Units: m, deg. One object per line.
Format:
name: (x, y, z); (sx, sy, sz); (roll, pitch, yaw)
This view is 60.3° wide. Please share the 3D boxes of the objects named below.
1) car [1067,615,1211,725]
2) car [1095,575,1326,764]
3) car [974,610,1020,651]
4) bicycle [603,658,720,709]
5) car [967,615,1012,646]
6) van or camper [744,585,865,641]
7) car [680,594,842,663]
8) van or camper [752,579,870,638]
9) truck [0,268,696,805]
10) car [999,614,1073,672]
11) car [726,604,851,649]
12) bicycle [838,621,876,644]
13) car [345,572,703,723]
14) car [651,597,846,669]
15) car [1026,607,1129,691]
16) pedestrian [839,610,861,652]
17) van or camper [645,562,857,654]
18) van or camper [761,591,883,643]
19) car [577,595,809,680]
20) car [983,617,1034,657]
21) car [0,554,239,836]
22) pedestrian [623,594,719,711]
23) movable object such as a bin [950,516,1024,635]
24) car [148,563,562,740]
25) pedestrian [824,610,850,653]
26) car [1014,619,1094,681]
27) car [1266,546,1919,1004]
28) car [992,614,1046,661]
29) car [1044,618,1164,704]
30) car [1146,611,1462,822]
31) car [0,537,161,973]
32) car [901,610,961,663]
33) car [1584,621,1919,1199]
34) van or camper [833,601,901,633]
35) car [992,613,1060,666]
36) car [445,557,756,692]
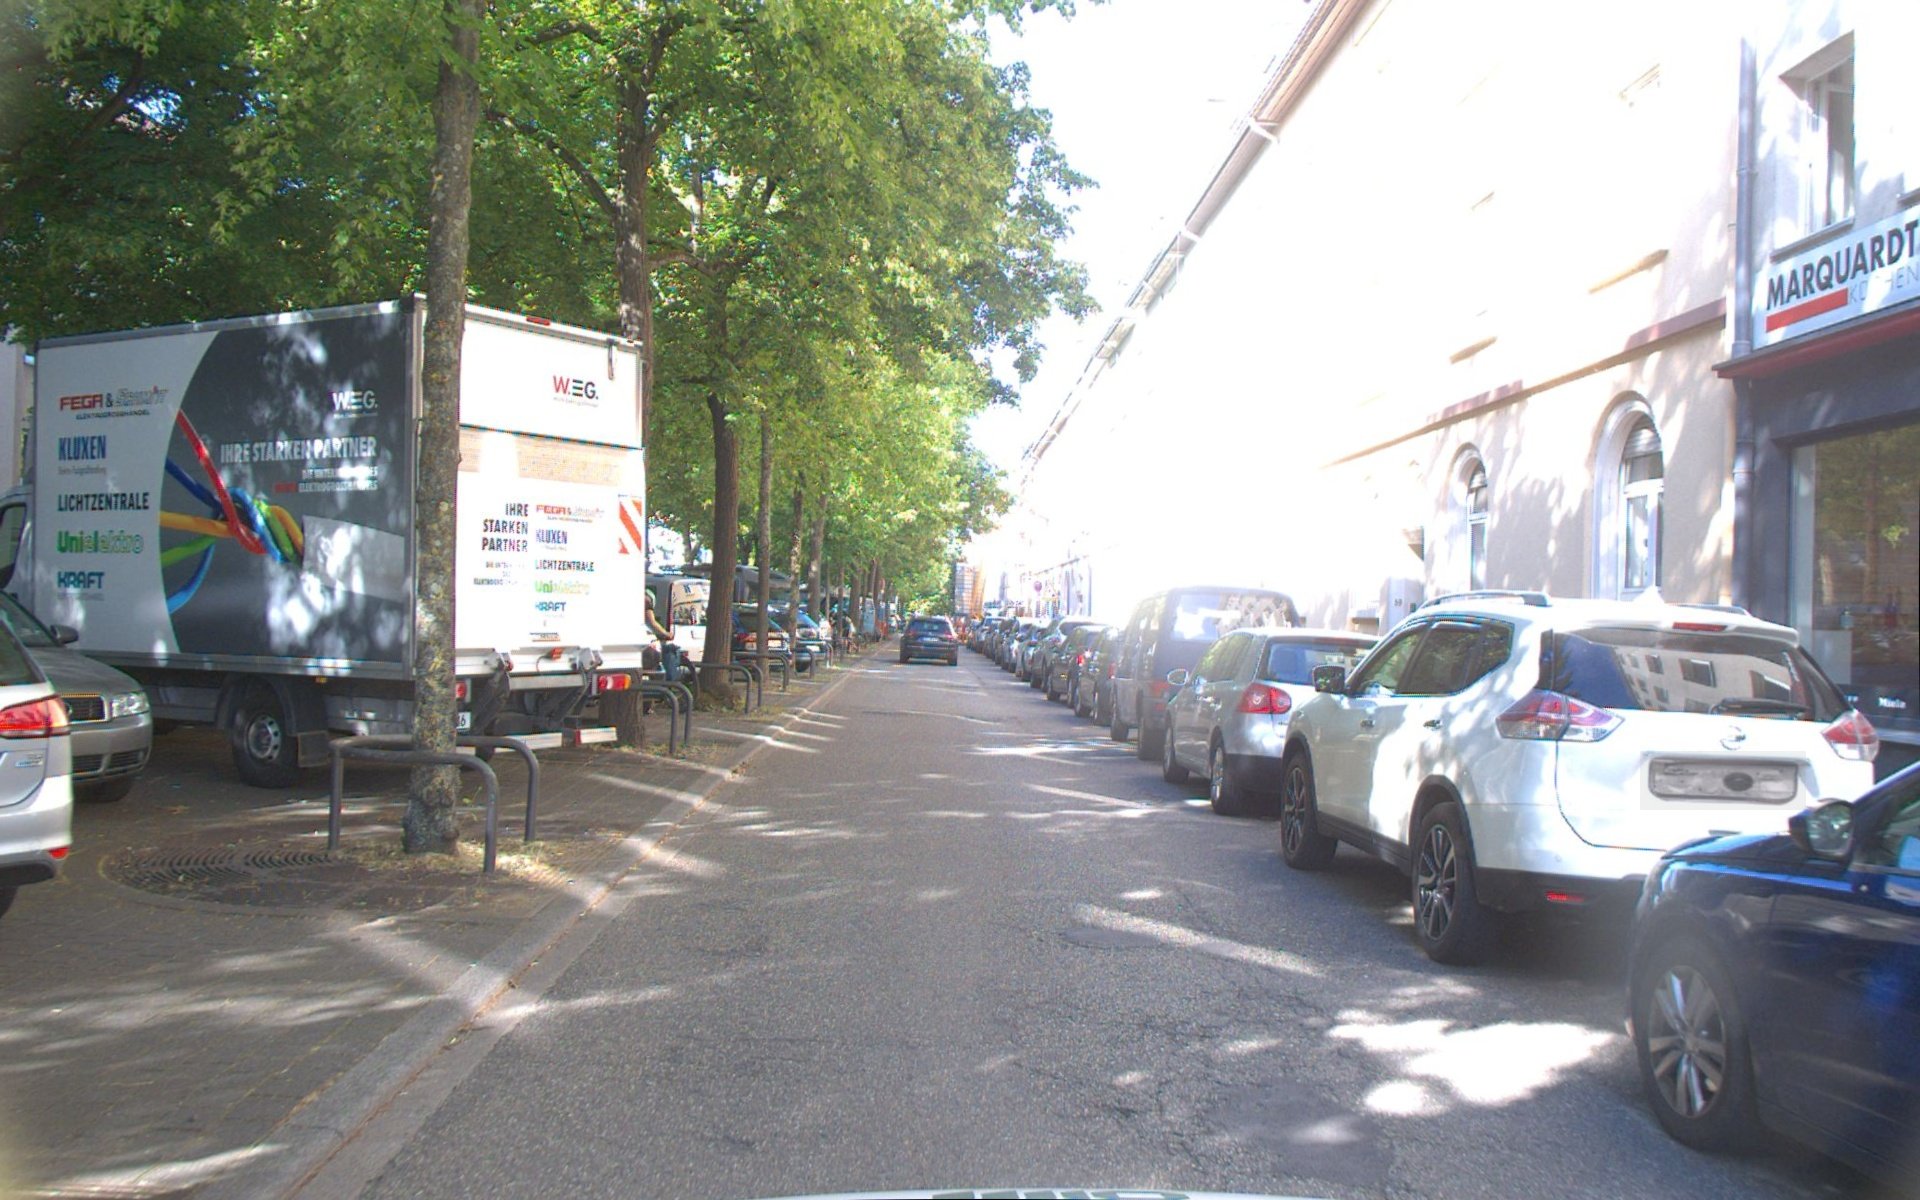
car: (2.679, 1.023, 25.511); (1.589, 1.524, 3.592); (2, -1, -4)
car: (2.843, 0.750, 19.862); (1.909, 1.934, 4.844); (2, -1, -1)
car: (1.635, 1.354, 74.465); (1.780, 1.703, 4.672); (2, -1, -1)
bicycle: (-3.850, 1.072, 21.317); (1.579, 0.568, 0.408); (2, -1, 30)
car: (1.469, 1.504, 83.639); (1.954, 1.434, 4.498); (3, 0, -2)
van or camper: (-7.860, 0.655, 83.462); (5.756, 2.683, 2.252); (1, -1, 28)
car: (-5.418, 0.771, 44.963); (4.054, 1.709, 1.757); (2, -1, 28)
van or camper: (-8.709, 0.489, 96.549); (6.527, 3.297, 2.492); (1, -1, 27)
truck: (-5.756, -0.442, 13.232); (7.166, 3.351, 2.542); (1, -1, 30)
car: (2.180, 1.235, 48.530); (1.688, 1.555, 4.155); (2, -1, -3)
car: (-6.193, 0.956, 59.704); (4.230, 1.449, 1.674); (2, -1, 25)
bicycle: (-4.710, 1.472, 75.607); (1.702, 1.023, 0.506); (2, -1, -32)
car: (-5.182, 0.518, 19.561); (4.019, 1.532, 1.730); (2, -1, 30)
car: (-4.942, 0.765, 38.463); (4.329, 1.487, 1.712); (2, -2, 31)
car: (2.556, 1.037, 36.767); (1.688, 1.715, 4.154); (2, -1, -4)
pedestrian: (-3.917, 1.114, 58.947); (0.602, 1.481, 0.519); (1, -1, 22)
van or camper: (-7.243, 0.237, 57.058); (7.083, 2.981, 2.312); (1, -1, 26)
van or camper: (-6.619, 0.811, 79.245); (5.386, 2.315, 2.220); (1, -1, 23)
car: (-5.304, 0.722, 32.716); (4.392, 1.481, 1.784); (2, -1, 31)
car: (1.854, 1.419, 63.898); (1.598, 1.437, 4.086); (2, -1, -3)
car: (-6.732, 0.477, 10.567); (4.252, 1.533, 1.809); (2, -1, 33)
pedestrian: (-3.644, 0.658, 20.878); (0.737, 1.421, 0.927); (1, -1, 30)
movable object such as a bin: (1.596, -1.437, 97.658); (3.415, 6.878, 2.363); (2, -1, 31)
car: (-6.180, 0.477, 16.833); (3.913, 1.529, 1.845); (2, -1, 30)
pedestrian: (-4.347, 1.112, 58.401); (0.695, 1.481, 0.596); (1, -1, 22)
car: (2.380, 1.270, 42.877); (1.688, 1.457, 4.156); (2, -1, -2)
car: (3.050, 0.723, 8.874); (1.727, 1.784, 4.507); (2, -1, -3)
car: (2.090, 1.329, 59.210); (1.598, 1.561, 3.590); (2, -1, -3)
car: (2.588, 1.084, 30.544); (1.519, 1.418, 3.857); (2, -1, -5)
car: (2.827, 0.893, 14.532); (1.726, 1.526, 4.236); (2, -1, -2)
car: (-5.334, 0.485, 6.681); (4.252, 1.533, 1.809); (2, -1, 33)
car: (-0.925, 1.105, 51.470); (1.761, 1.530, 3.584); (1, 0, -2)
car: (3.239, 0.836, 3.516); (1.767, 1.489, 4.435); (2, -1, -6)
van or camper: (-7.790, 1.431, 138.242); (5.234, 2.518, 2.289); (1, -1, 31)
car: (2.105, 1.259, 53.969); (1.689, 1.624, 4.154); (2, -1, -5)
car: (-5.722, 0.373, 26.365); (4.419, 1.897, 2.080); (2, -1, 24)
